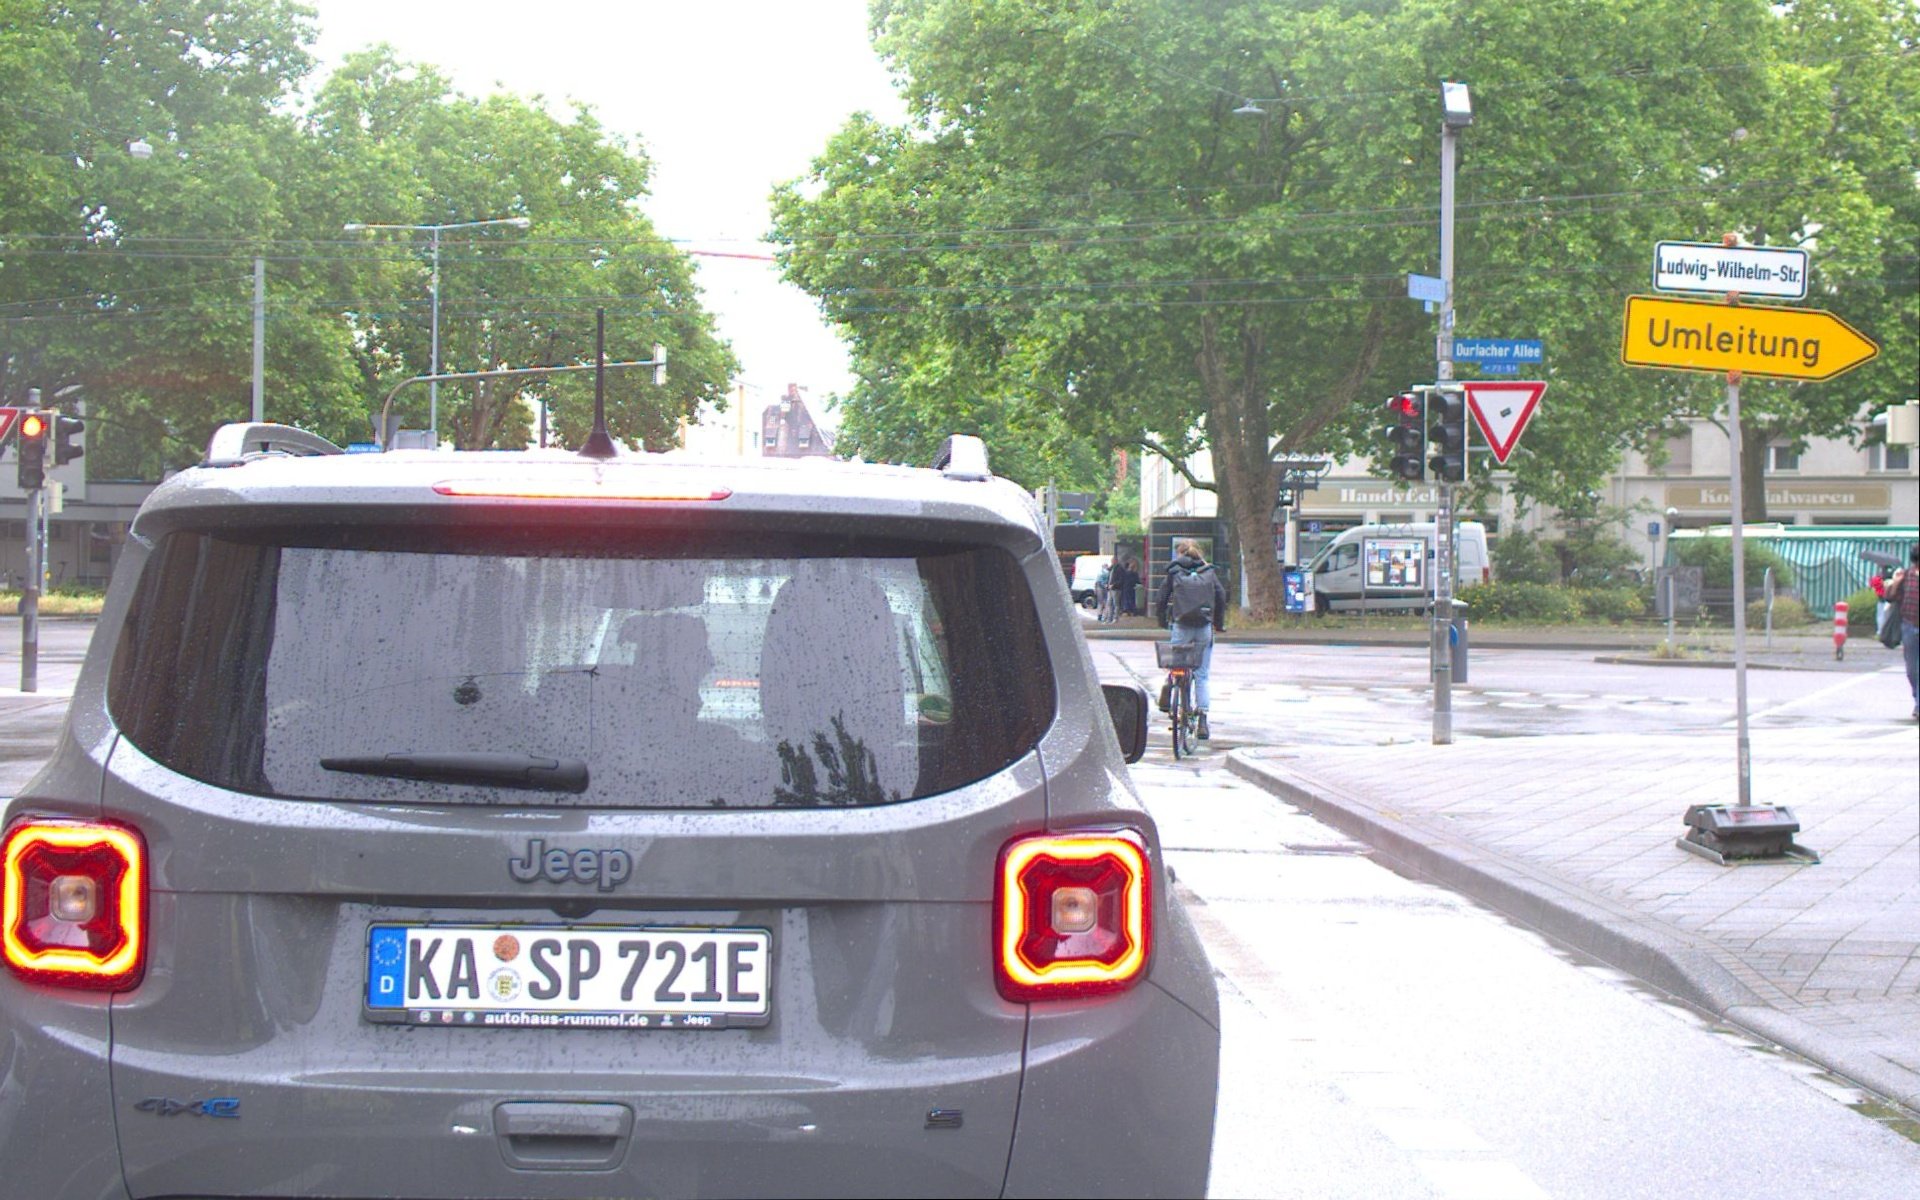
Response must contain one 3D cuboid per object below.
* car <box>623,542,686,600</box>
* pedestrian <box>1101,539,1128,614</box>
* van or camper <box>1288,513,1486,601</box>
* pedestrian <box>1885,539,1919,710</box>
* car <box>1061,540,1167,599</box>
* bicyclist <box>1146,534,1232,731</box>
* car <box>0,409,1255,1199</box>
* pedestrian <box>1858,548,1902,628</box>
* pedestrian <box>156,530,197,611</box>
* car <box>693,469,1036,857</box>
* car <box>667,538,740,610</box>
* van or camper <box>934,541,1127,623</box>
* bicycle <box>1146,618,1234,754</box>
[{"bbox_3d":[-9.029,-0.873,101.621,1.813,1.665,3.921,0,1,-5],"label":"car"},{"bbox_3d":[4.156,-0.628,92.612,0.651,2.007,0.482,1,1,12],"label":"pedestrian"},{"bbox_3d":[11.738,-1.196,94.800,5.260,2.307,2.090,1,1,3],"label":"van or camper"},{"bbox_3d":[10.014,0.240,35.671,0.786,1.753,0.945,0,1,14],"label":"pedestrian"},{"bbox_3d":[5.364,-1.053,119.499,3.438,2.007,1.547,0,0,13],"label":"car"},{"bbox_3d":[1.910,0.262,28.713,0.687,1.612,0.883,0,1,3],"label":"bicyclist"},{"bbox_3d":[-0.581,0.582,6.159,1.775,1.681,3.848,-1,1,-2],"label":"car"},{"bbox_3d":[18.101,-0.228,67.634,0.674,1.548,0.760,1,-1,27],"label":"pedestrian"},{"bbox_3d":[-17.746,-0.668,77.838,0.619,1.820,0.693,0,1,19],"label":"pedestrian"},{"bbox_3d":[-0.534,0.296,19.835,1.770,2.007,4.000,0,1,-1],"label":"car"},{"bbox_3d":[-6.324,-0.657,84.575,1.721,1.733,3.730,0,1,-5],"label":"car"},{"bbox_3d":[2.548,-0.669,124.756,6.535,2.902,2.491,1,1,24],"label":"van or camper"},{"bbox_3d":[1.915,0.694,28.744,0.692,1.018,2.658,0,1,3],"label":"bicycle"}]
